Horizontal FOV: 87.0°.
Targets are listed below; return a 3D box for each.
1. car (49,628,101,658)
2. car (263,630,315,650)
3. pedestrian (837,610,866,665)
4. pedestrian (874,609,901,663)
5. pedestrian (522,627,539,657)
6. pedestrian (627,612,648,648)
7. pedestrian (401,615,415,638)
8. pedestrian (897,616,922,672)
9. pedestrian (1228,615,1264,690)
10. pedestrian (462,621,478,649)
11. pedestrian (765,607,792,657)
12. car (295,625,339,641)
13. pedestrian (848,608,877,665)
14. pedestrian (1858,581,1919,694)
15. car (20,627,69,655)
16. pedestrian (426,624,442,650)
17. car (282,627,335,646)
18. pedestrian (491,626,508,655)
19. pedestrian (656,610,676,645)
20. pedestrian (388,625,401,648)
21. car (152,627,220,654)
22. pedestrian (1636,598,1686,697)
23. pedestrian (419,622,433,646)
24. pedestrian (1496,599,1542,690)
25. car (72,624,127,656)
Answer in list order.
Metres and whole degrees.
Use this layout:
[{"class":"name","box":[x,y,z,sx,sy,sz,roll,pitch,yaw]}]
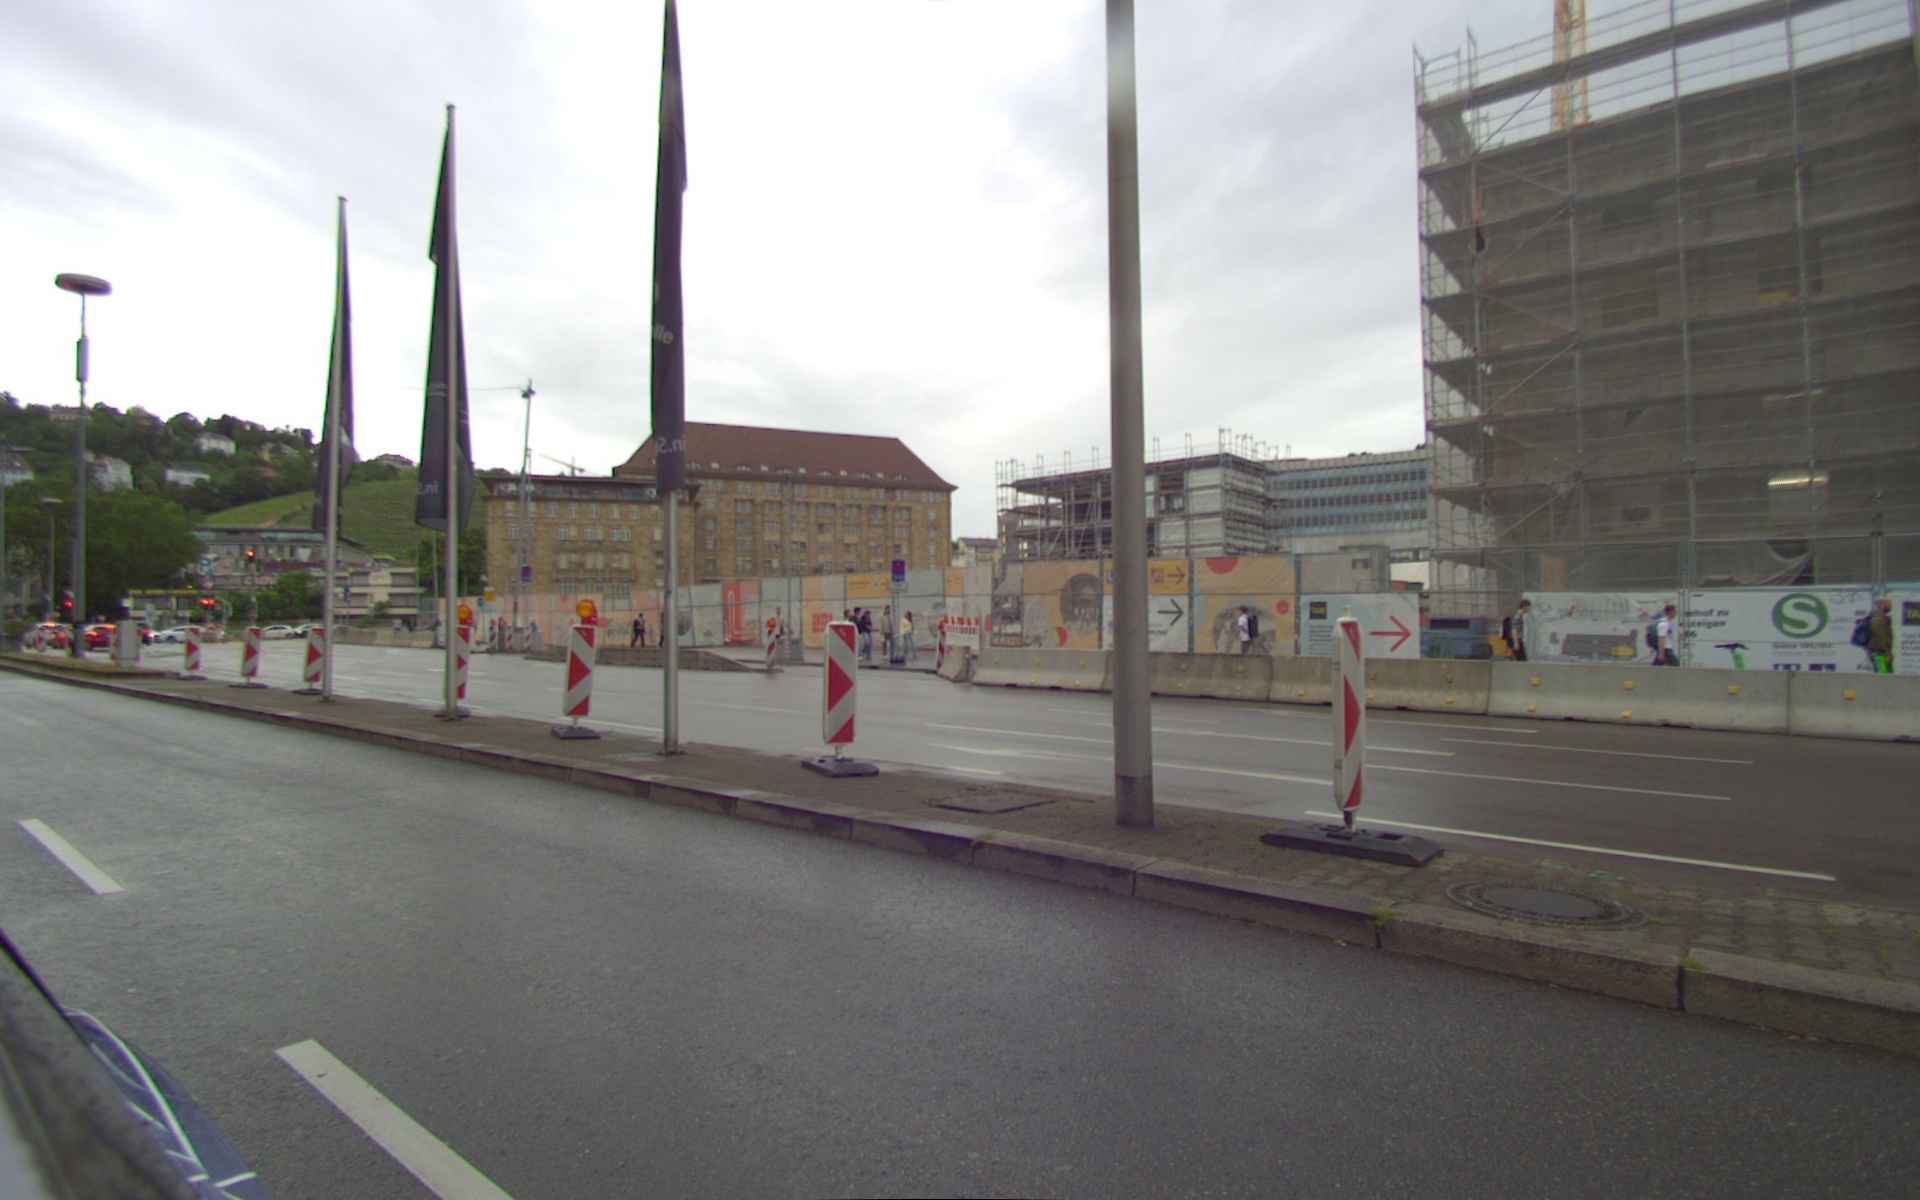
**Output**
[{"class":"car","box":[-53.196,2.542,60.799,3.913,1.707,1.763,-1,0,40]},{"class":"car","box":[-68.593,4.074,103.510,4.136,1.871,1.833,-1,0,-44]},{"class":"pedestrian","box":[-3.549,1.220,33.059,0.704,1.746,0.719,-1,0,-31]},{"class":"pedestrian","box":[-2.421,1.202,33.806,0.704,1.757,0.565,-1,0,-29]},{"class":"pedestrian","box":[-23.927,2.316,56.375,0.544,1.628,0.706,-1,0,41]},{"class":"pedestrian","box":[-14.609,1.352,45.793,0.544,1.628,0.706,-1,0,41]},{"class":"pedestrian","box":[-40.094,1.905,73.506,0.705,1.628,0.544,-1,0,-44]},{"class":"pedestrian","box":[-1.696,1.459,34.075,0.651,1.850,0.557,-1,0,-29]},{"class":"pedestrian","box":[7.205,1.296,25.493,0.717,1.850,0.475,-1,0,41]},{"class":"pedestrian","box":[-29.116,2.064,60.161,0.544,1.628,0.706,-1,0,41]},{"class":"pedestrian","box":[-6.819,1.208,38.027,0.720,1.850,0.656,-1,0,41]},{"class":"car","box":[-69.404,3.567,109.255,3.934,1.644,2.005,0,-2,-36]},{"class":"pedestrian","box":[-3.265,1.212,34.007,0.704,1.850,0.719,-1,0,-31]},{"class":"pedestrian","box":[15.571,0.608,16.979,0.717,1.850,0.475,-1,0,41]},{"class":"car","box":[-59.174,2.642,65.397,3.913,1.707,1.763,-1,0,40]},{"class":"pedestrian","box":[-33.740,2.362,64.925,0.544,1.628,0.706,-1,0,41]},{"class":"car","box":[-59.413,3.321,92.288,3.934,1.644,2.005,0,-2,-36]},{"class":"pedestrian","box":[-26.371,2.328,58.005,0.544,1.628,0.706,-1,0,41]},{"class":"pedestrian","box":[-13.910,1.287,47.815,0.544,1.628,0.706,-1,0,41]},{"class":"pedestrian","box":[-40.781,2.627,73.009,0.705,1.628,0.544,-1,0,-44]},{"class":"car","box":[-63.166,3.279,82.613,3.938,2.029,2.003,-1,0,-7]},{"class":"pedestrian","box":[13.339,0.887,19.259,0.717,1.850,0.475,-1,0,41]},{"class":"pedestrian","box":[-36.504,2.332,69.223,0.544,1.628,0.706,-1,0,41]},{"class":"pedestrian","box":[11.638,0.901,21.070,0.717,1.850,0.579,-1,0,41]},{"class":"car","box":[-48.584,2.245,57.133,3.914,1.707,1.762,-2,-2,41]}]
